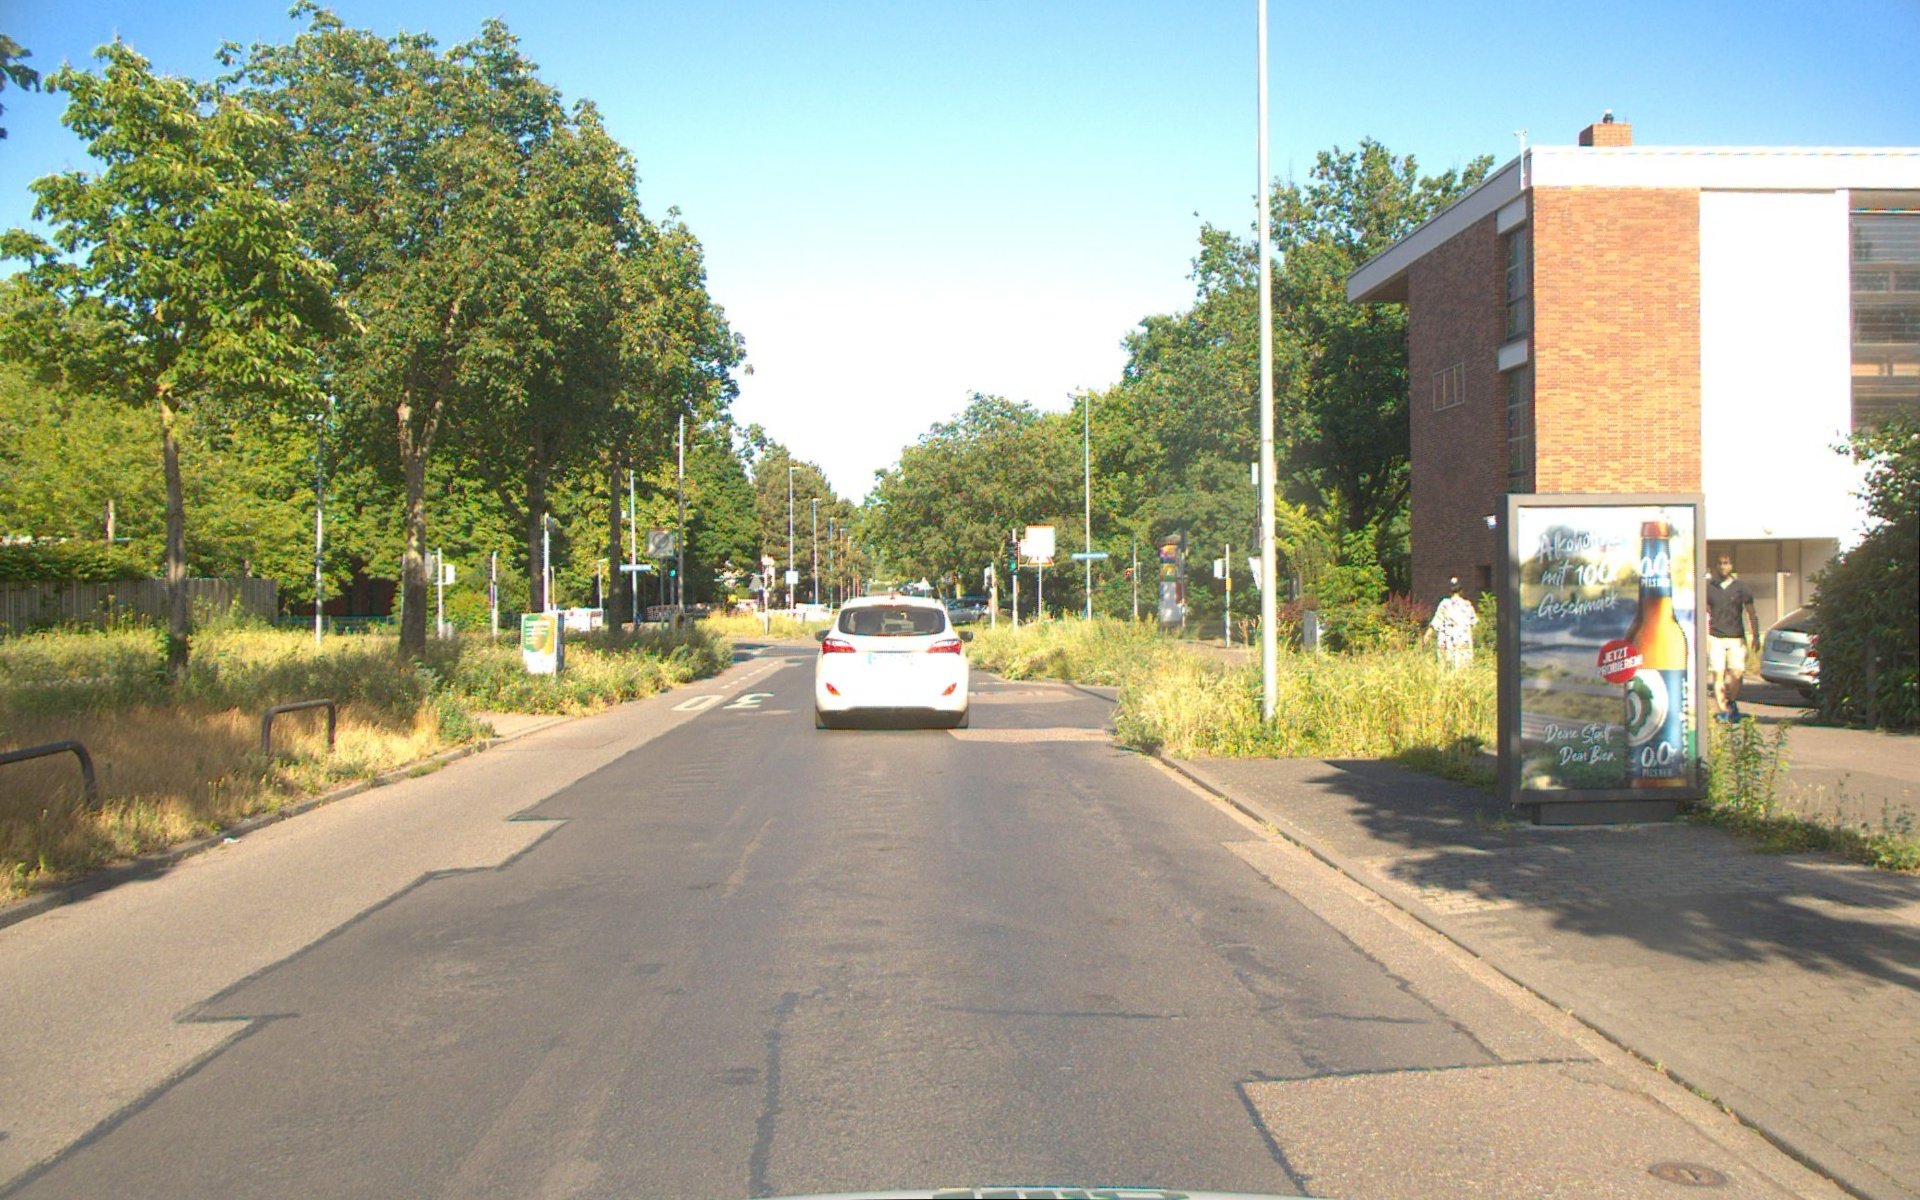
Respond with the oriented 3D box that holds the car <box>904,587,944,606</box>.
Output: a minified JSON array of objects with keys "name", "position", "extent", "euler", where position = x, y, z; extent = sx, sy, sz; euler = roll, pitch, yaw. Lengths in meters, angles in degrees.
[{"name":"car","position":[-3.797,-0.383,176.046],"extent":[4.215,1.941,1.862],"euler":[0,0,-3]}]

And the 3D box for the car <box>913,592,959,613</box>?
[{"name":"car","position":[-2.017,0.223,138.744],"extent":[3.742,1.713,1.862],"euler":[0,0,-3]}]

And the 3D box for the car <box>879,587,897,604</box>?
[{"name":"car","position":[-7.842,-0.481,179.679],"extent":[1.953,1.847,3.998],"euler":[0,0,-2]}]

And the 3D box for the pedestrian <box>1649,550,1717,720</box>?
[{"name":"pedestrian","position":[7.651,0.360,17.521],"extent":[0.542,1.763,0.662],"euler":[0,-1,14]}]

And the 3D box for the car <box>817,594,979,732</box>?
[{"name":"car","position":[-0.752,0.674,19.906],"extent":[1.753,1.489,3.961],"euler":[0,0,-3]}]

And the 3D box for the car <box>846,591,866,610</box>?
[{"name":"car","position":[-10.642,0.051,168.846],"extent":[1.953,1.847,3.998],"euler":[0,0,-2]}]

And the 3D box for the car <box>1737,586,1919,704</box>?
[{"name":"car","position":[13.303,0.593,23.082],"extent":[4.110,1.528,1.806],"euler":[-1,1,-2]}]

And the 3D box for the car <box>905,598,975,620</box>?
[{"name":"car","position":[-1.591,0.752,132.038],"extent":[5.501,1.713,1.947],"euler":[0,0,-3]}]

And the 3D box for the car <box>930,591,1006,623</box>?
[{"name":"car","position":[0.472,0.391,96.775],"extent":[4.406,1.814,1.855],"euler":[-1,0,0]}]

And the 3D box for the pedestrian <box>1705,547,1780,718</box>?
[{"name":"pedestrian","position":[8.217,0.333,17.389],"extent":[0.593,1.763,0.640],"euler":[0,-1,14]}]

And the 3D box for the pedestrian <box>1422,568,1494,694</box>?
[{"name":"pedestrian","position":[7.479,0.462,24.868],"extent":[0.880,1.853,0.736],"euler":[0,-1,3]}]

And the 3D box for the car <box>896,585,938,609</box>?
[{"name":"car","position":[-3.867,-0.252,148.705],"extent":[3.742,2.135,1.862],"euler":[0,0,-3]}]

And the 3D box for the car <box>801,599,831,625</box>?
[{"name":"car","position":[-10.448,0.859,120.510],"extent":[1.953,1.847,3.998],"euler":[0,1,-2]}]

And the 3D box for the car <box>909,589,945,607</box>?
[{"name":"car","position":[-3.441,-0.228,172.911],"extent":[3.742,1.798,1.862],"euler":[0,0,-3]}]

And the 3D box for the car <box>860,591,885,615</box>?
[{"name":"car","position":[-7.122,0.229,135.074],"extent":[1.954,1.847,3.998],"euler":[3,0,-3]}]
